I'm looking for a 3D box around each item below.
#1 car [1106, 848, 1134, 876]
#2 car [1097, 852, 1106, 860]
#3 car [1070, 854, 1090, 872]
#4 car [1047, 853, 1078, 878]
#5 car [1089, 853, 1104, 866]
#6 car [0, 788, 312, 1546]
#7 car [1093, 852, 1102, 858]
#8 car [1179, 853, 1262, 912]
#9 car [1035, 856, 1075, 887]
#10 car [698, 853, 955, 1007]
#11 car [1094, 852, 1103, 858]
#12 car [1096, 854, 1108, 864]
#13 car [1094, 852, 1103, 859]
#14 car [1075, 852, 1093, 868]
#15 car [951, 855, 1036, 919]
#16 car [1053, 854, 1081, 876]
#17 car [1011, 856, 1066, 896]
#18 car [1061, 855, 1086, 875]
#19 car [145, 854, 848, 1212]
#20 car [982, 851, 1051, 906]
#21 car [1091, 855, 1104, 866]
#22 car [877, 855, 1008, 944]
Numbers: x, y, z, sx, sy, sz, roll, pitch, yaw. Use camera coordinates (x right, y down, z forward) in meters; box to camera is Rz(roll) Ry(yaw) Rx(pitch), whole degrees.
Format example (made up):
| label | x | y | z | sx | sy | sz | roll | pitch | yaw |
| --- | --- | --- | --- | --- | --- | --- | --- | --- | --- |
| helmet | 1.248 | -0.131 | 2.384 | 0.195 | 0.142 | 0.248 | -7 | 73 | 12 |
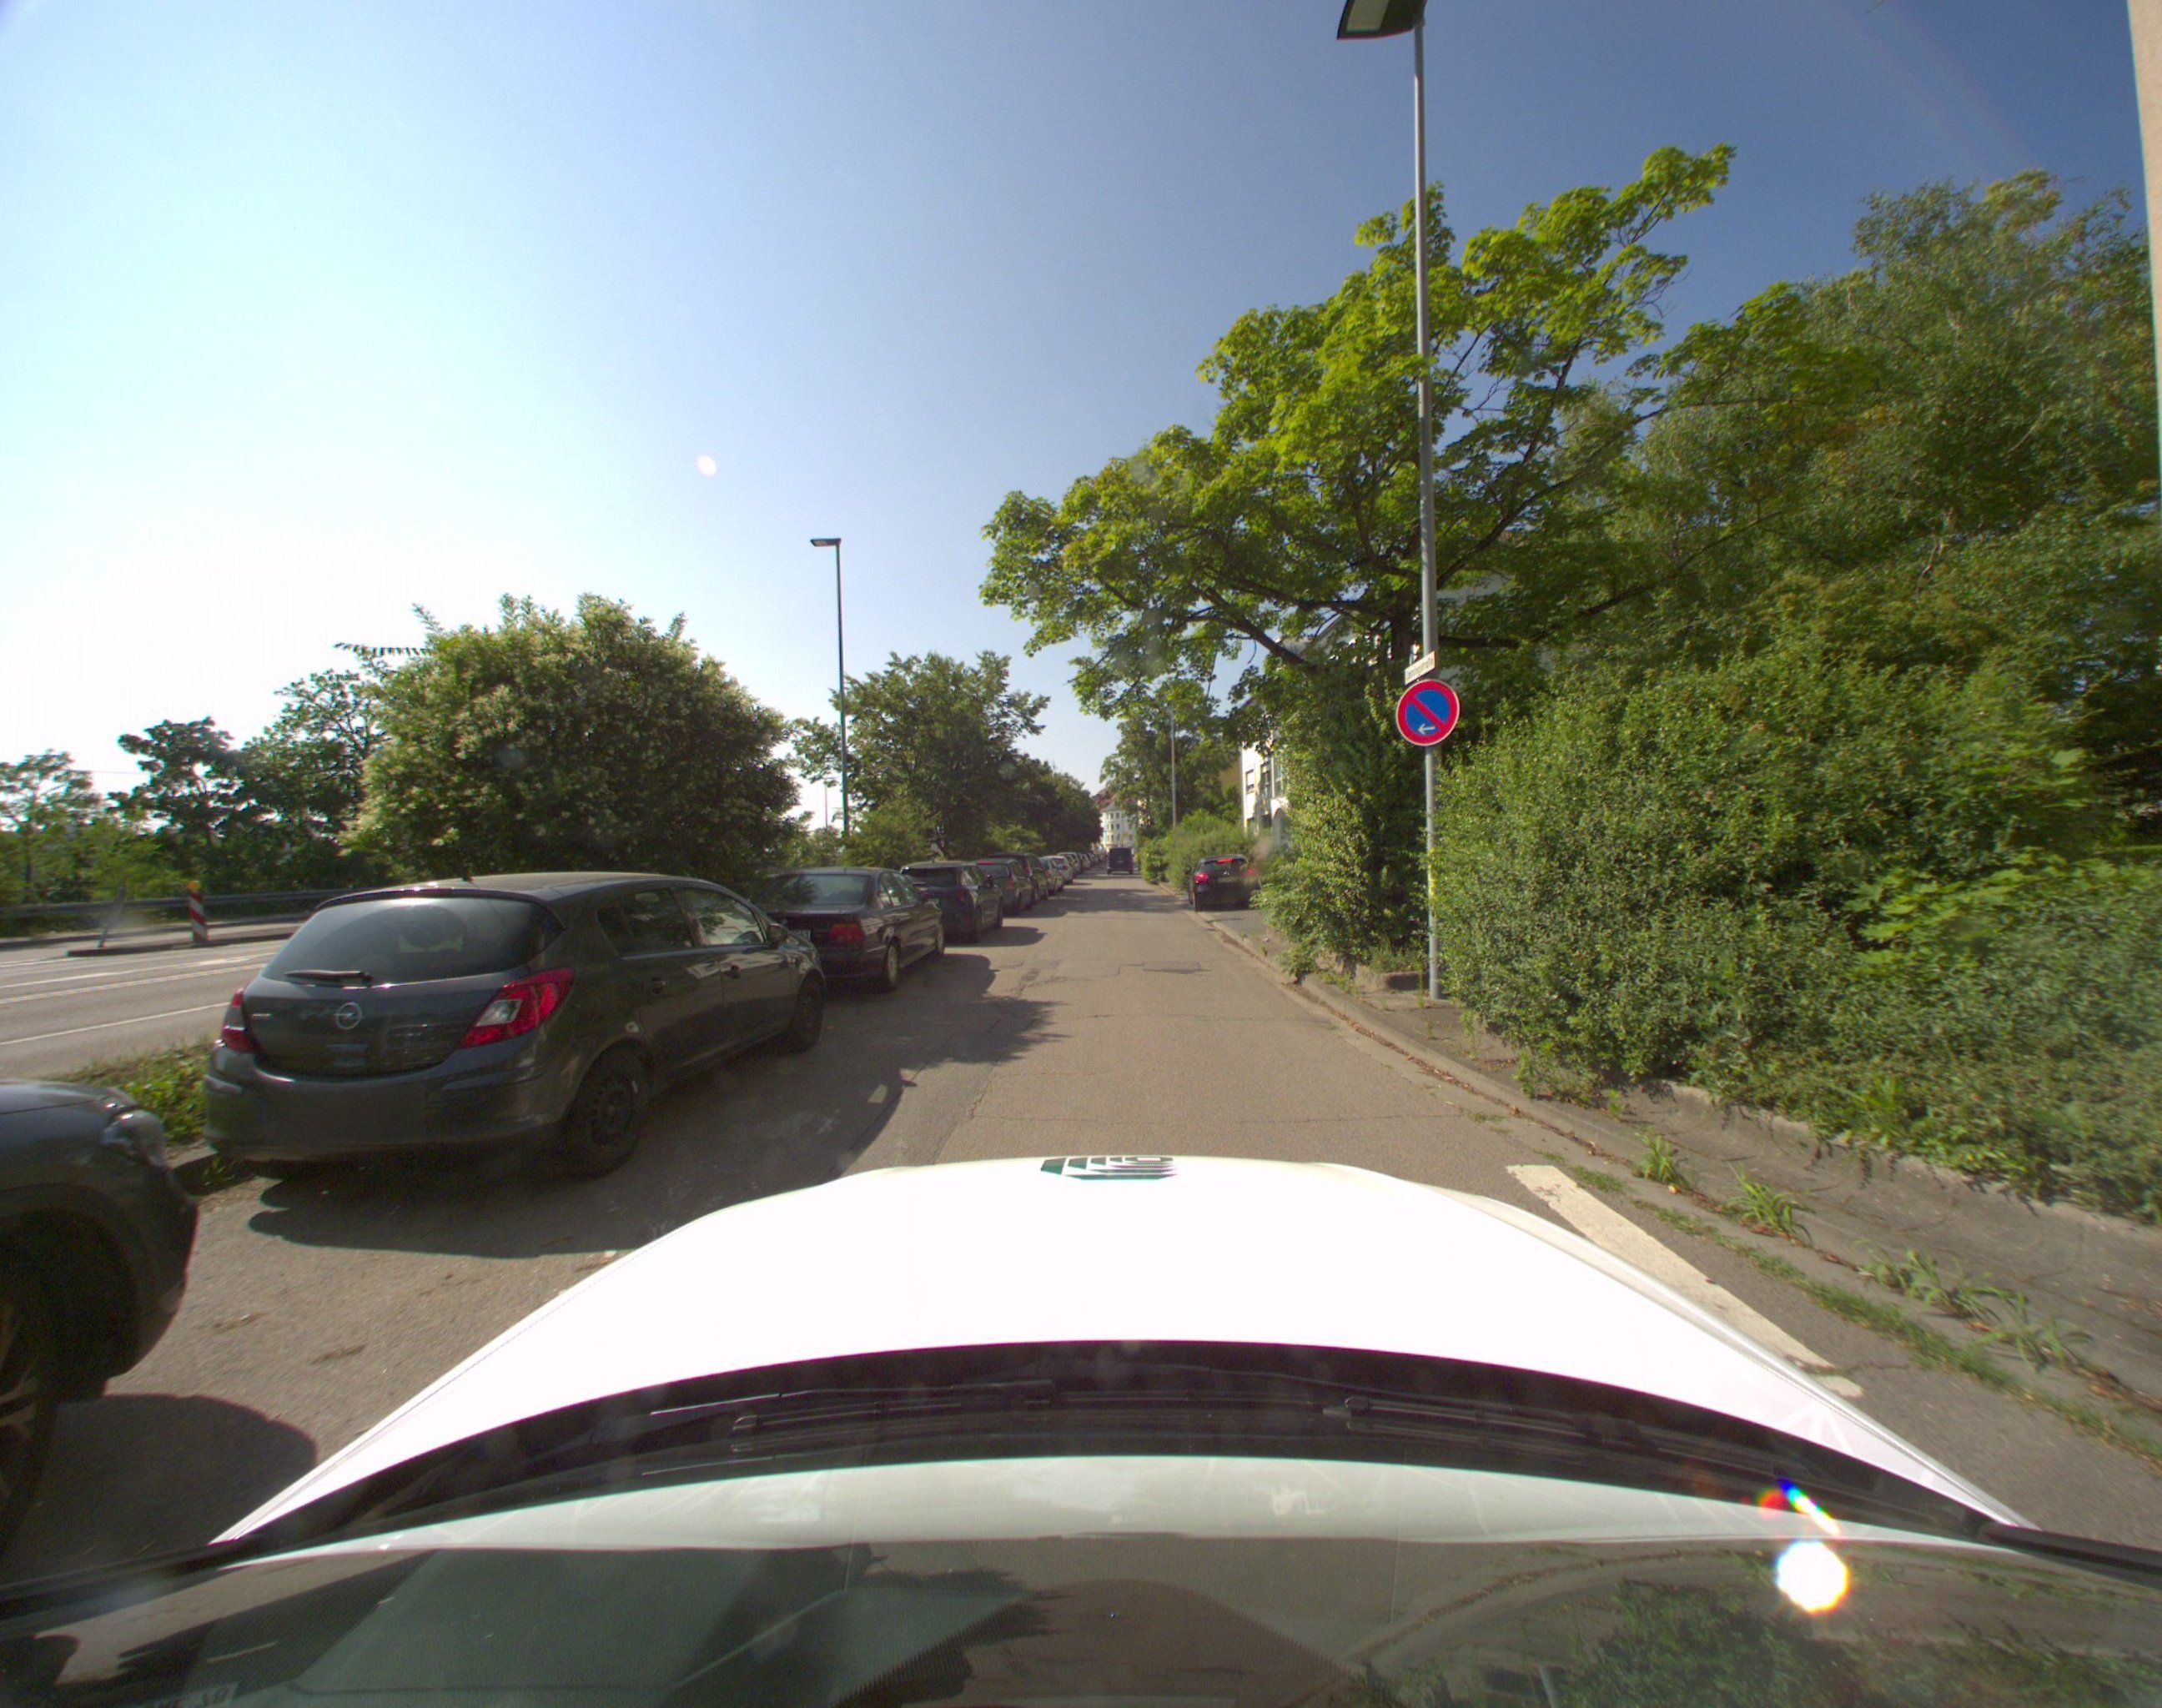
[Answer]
| label | x | y | z | sx | sy | sz | roll | pitch | yaw |
| --- | --- | --- | --- | --- | --- | --- | --- | --- | --- |
| car | 2.823 | 0.540 | 58.895 | 1.875 | 1.921 | 4.011 | 1 | 0 | 3 |
| car | 4.611 | 0.418 | 180.512 | 1.986 | 1.657 | 4.001 | -1 | 0 | 2 |
| car | -0.077 | 0.801 | 74.810 | 1.657 | 1.509 | 4.011 | 1 | 0 | 3 |
| car | -1.166 | 0.719 | 52.454 | 1.657 | 1.509 | 4.204 | -1 | 0 | 3 |
| car | 1.990 | 0.706 | 102.243 | 1.657 | 1.509 | 4.011 | -1 | 0 | 3 |
| car | -3.071 | 0.682 | 0.271 | 1.768 | 1.579 | 4.181 | -2 | 0 | -4 |
| car | 4.185 | 0.228 | 205.634 | 1.986 | 1.657 | 3.742 | -1 | 0 | 2 |
| car | 3.781 | 0.731 | 22.659 | 1.720 | 1.420 | 4.002 | -2 | 0 | 2 |
| car | -1.272 | 0.844 | 41.741 | 1.657 | 1.468 | 4.204 | 1 | 0 | 3 |
| car | -2.936 | 0.766 | 10.541 | 1.657 | 1.511 | 4.598 | 1 | 0 | 3 |
| car | 4.374 | 0.252 | 201.288 | 1.986 | 1.657 | 3.742 | -1 | 0 | 2 |
| car | 3.563 | 0.847 | 137.642 | 1.986 | 1.657 | 4.001 | -1 | 0 | 2 |
| car | 4.075 | 0.348 | 192.564 | 1.986 | 1.657 | 4.001 | -1 | 0 | 2 |
| car | 0.378 | 0.614 | 85.559 | 1.657 | 1.509 | 4.011 | 1 | 0 | 3 |
| car | -2.225 | 0.800 | 21.632 | 1.657 | 1.511 | 3.792 | 1 | 0 | 3 |
| car | -0.973 | 0.743 | 58.298 | 1.657 | 1.509 | 4.011 | 1 | 0 | 3 |
| car | -1.581 | 0.791 | 31.612 | 1.657 | 1.407 | 4.323 | 1 | 0 | 3 |
| car | -0.536 | 0.826 | 63.562 | 1.657 | 1.509 | 4.011 | 1 | 0 | 3 |
| car | -3.022 | 0.756 | 5.357 | 1.657 | 1.474 | 3.879 | -1 | 0 | 3 |
| car | -1.999 | 0.730 | 26.289 | 1.657 | 1.583 | 3.935 | -1 | 1 | 3 |
| car | 2.666 | 0.984 | 127.858 | 1.986 | 1.657 | 4.001 | -1 | 0 | 2 |
| car | -2.519 | 0.770 | 15.697 | 1.657 | 1.473 | 3.792 | 1 | 0 | 3 |
